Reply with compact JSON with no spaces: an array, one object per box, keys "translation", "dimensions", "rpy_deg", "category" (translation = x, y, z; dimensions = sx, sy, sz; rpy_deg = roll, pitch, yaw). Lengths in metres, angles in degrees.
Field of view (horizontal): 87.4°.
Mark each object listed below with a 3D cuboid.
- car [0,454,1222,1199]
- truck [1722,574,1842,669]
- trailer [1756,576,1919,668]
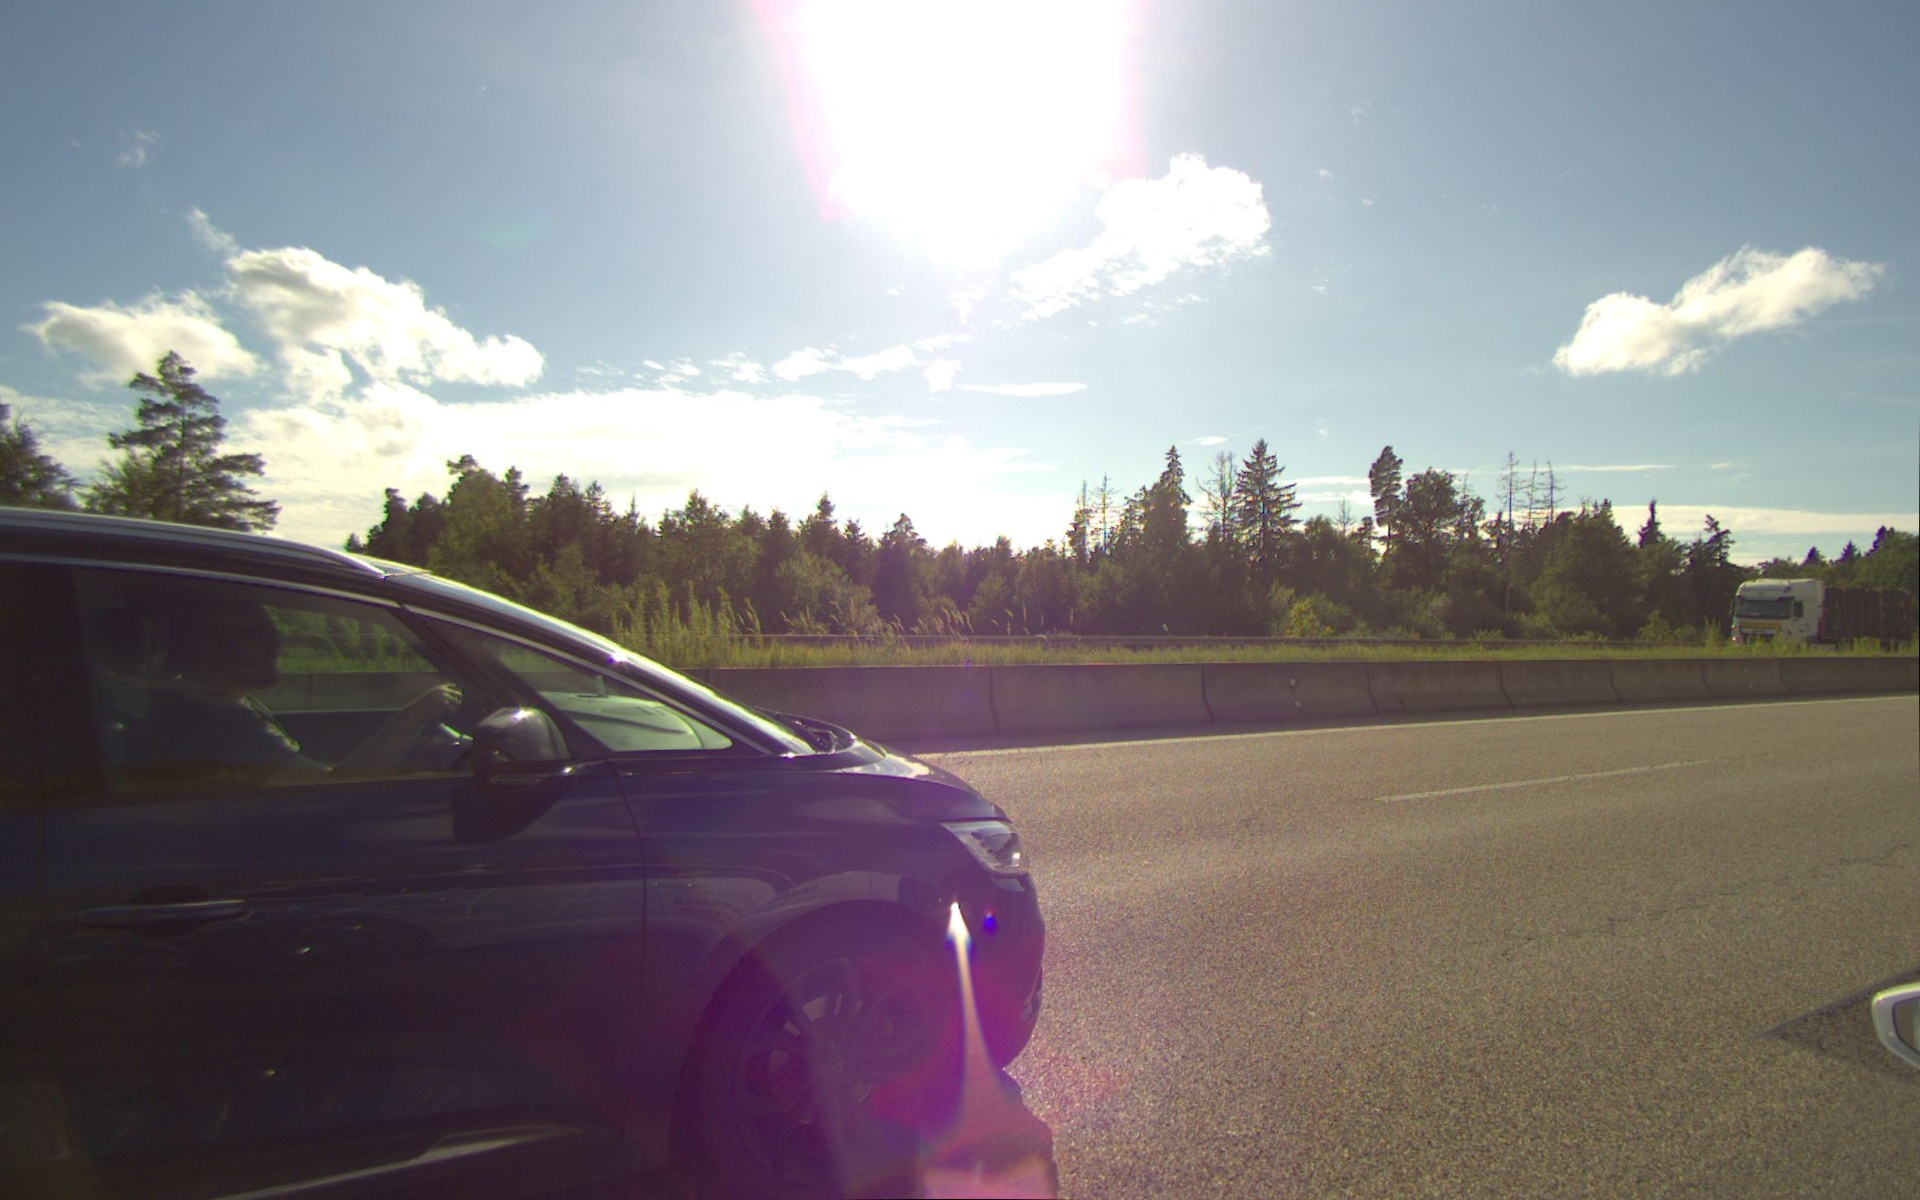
[{"translation":[-1.667,0.630,2.717],"dimensions":[4.474,1.729,1.984],"rpy_deg":[1,0,-29],"category":"car"},{"translation":[40.324,1.058,49.271],"dimensions":[5.399,4.450,2.789],"rpy_deg":[1,0,-30],"category":"truck"},{"translation":[46.191,1.199,52.666],"dimensions":[11.907,4.450,2.789],"rpy_deg":[1,0,-30],"category":"trailer"}]
